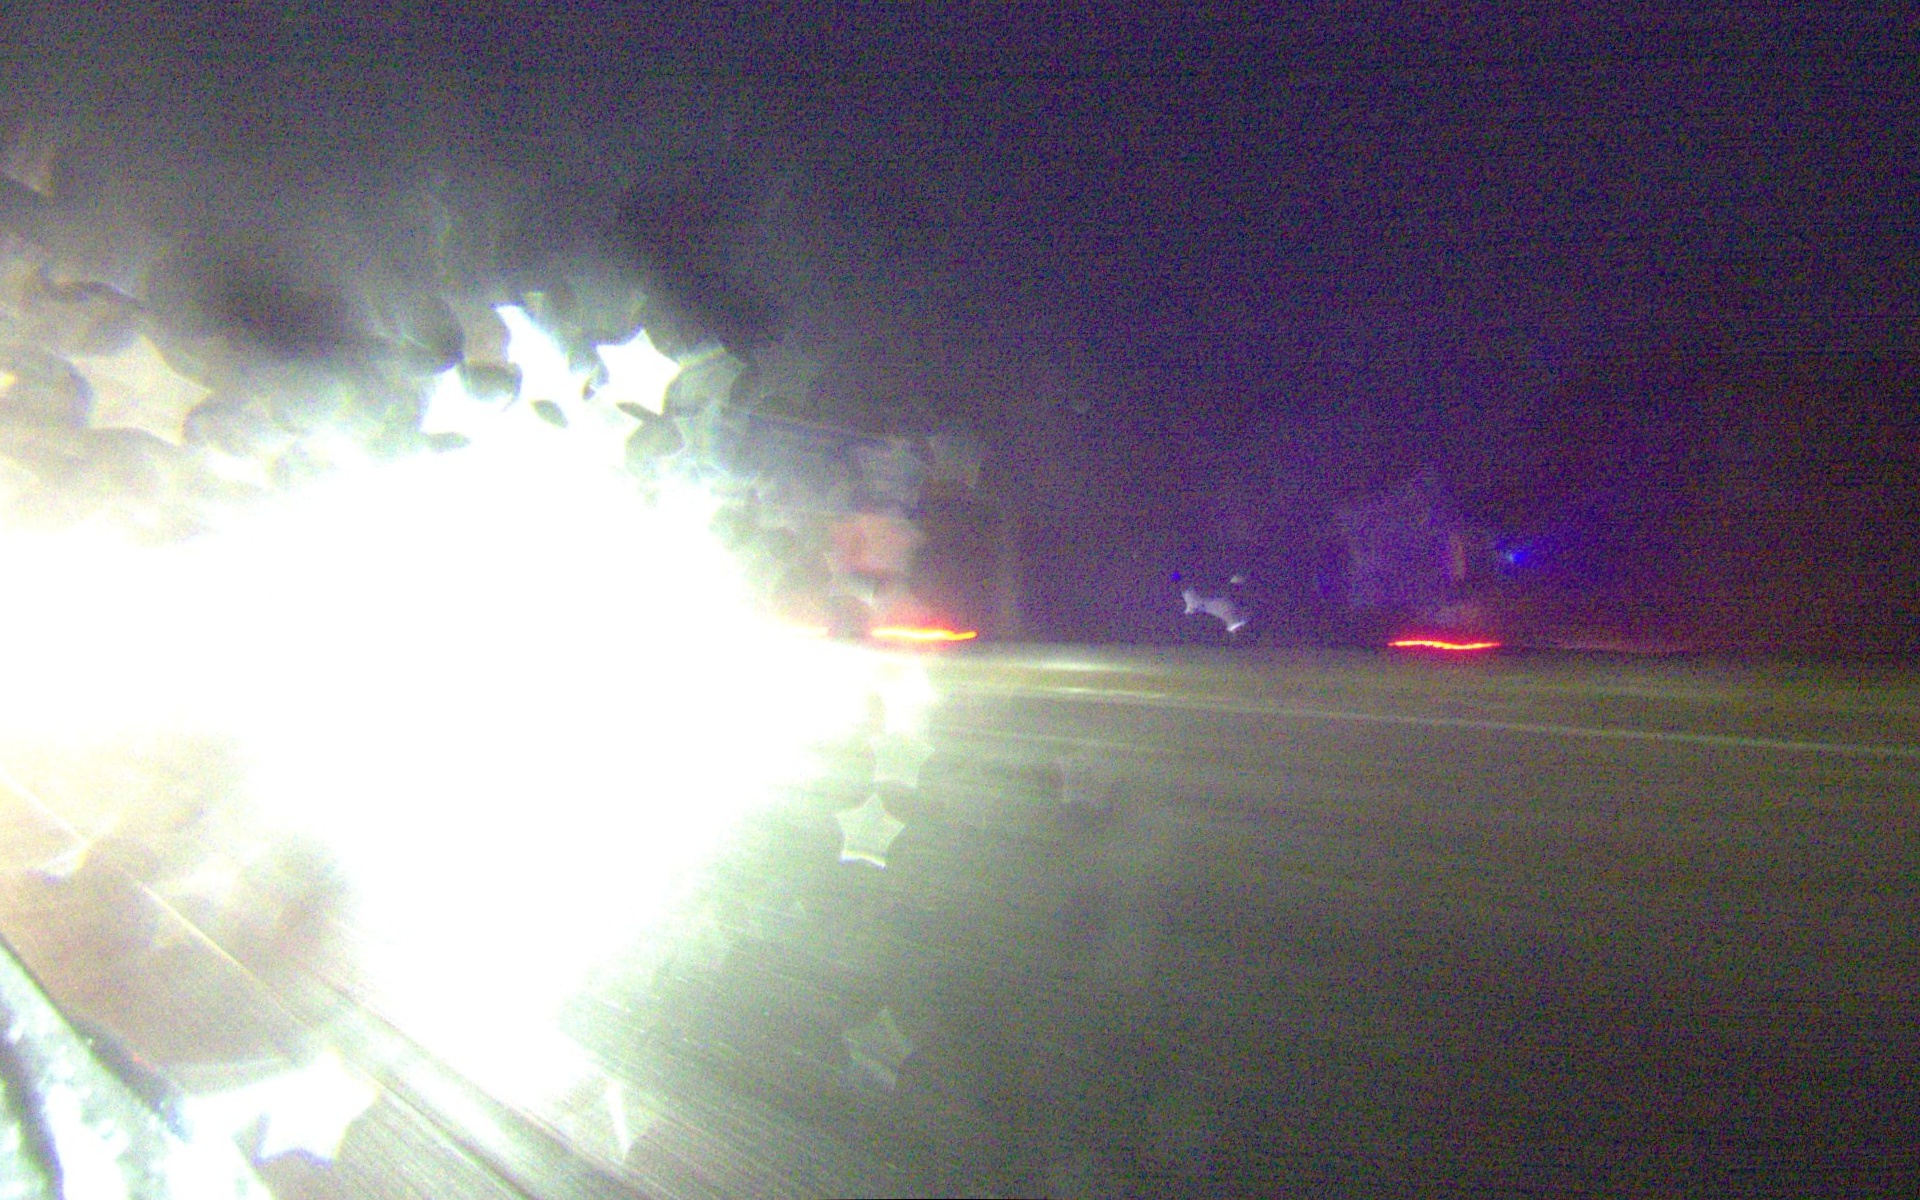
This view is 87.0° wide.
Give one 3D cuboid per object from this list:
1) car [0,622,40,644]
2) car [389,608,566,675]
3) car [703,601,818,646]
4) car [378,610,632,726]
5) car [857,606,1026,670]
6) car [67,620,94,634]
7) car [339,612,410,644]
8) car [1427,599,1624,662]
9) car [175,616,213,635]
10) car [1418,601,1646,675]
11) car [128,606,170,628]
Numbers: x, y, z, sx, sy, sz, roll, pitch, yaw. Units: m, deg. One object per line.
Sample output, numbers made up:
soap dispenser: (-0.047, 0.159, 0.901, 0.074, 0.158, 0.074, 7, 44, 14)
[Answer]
car: (-73.604, 2.578, 79.114, 4.586, 1.572, 1.972, -1, 0, 42)
car: (-12.187, 0.978, 25.417, 5.159, 1.487, 1.974, -1, 0, 39)
car: (-7.572, 0.854, 38.156, 4.456, 1.569, 1.861, -1, 0, 40)
car: (-6.831, 0.890, 15.044, 3.998, 1.452, 1.973, -1, 0, 41)
car: (-0.554, 0.982, 27.440, 4.456, 1.569, 1.861, -1, 0, 40)
car: (-112.676, 3.402, 129.663, 4.557, 1.734, 1.862, -1, 0, 38)
car: (-31.027, 1.437, 53.586, 4.456, 1.569, 1.861, -1, 0, 40)
car: (15.405, 0.783, 27.690, 4.456, 1.569, 1.861, -1, 0, 40)
car: (-72.965, 2.376, 96.337, 4.559, 1.734, 1.861, -1, 0, 40)
car: (13.444, 0.828, 23.927, 4.456, 1.569, 1.861, -1, 0, 40)
car: (-70.086, 1.460, 87.426, 5.056, 1.857, 1.861, -1, 0, 40)
